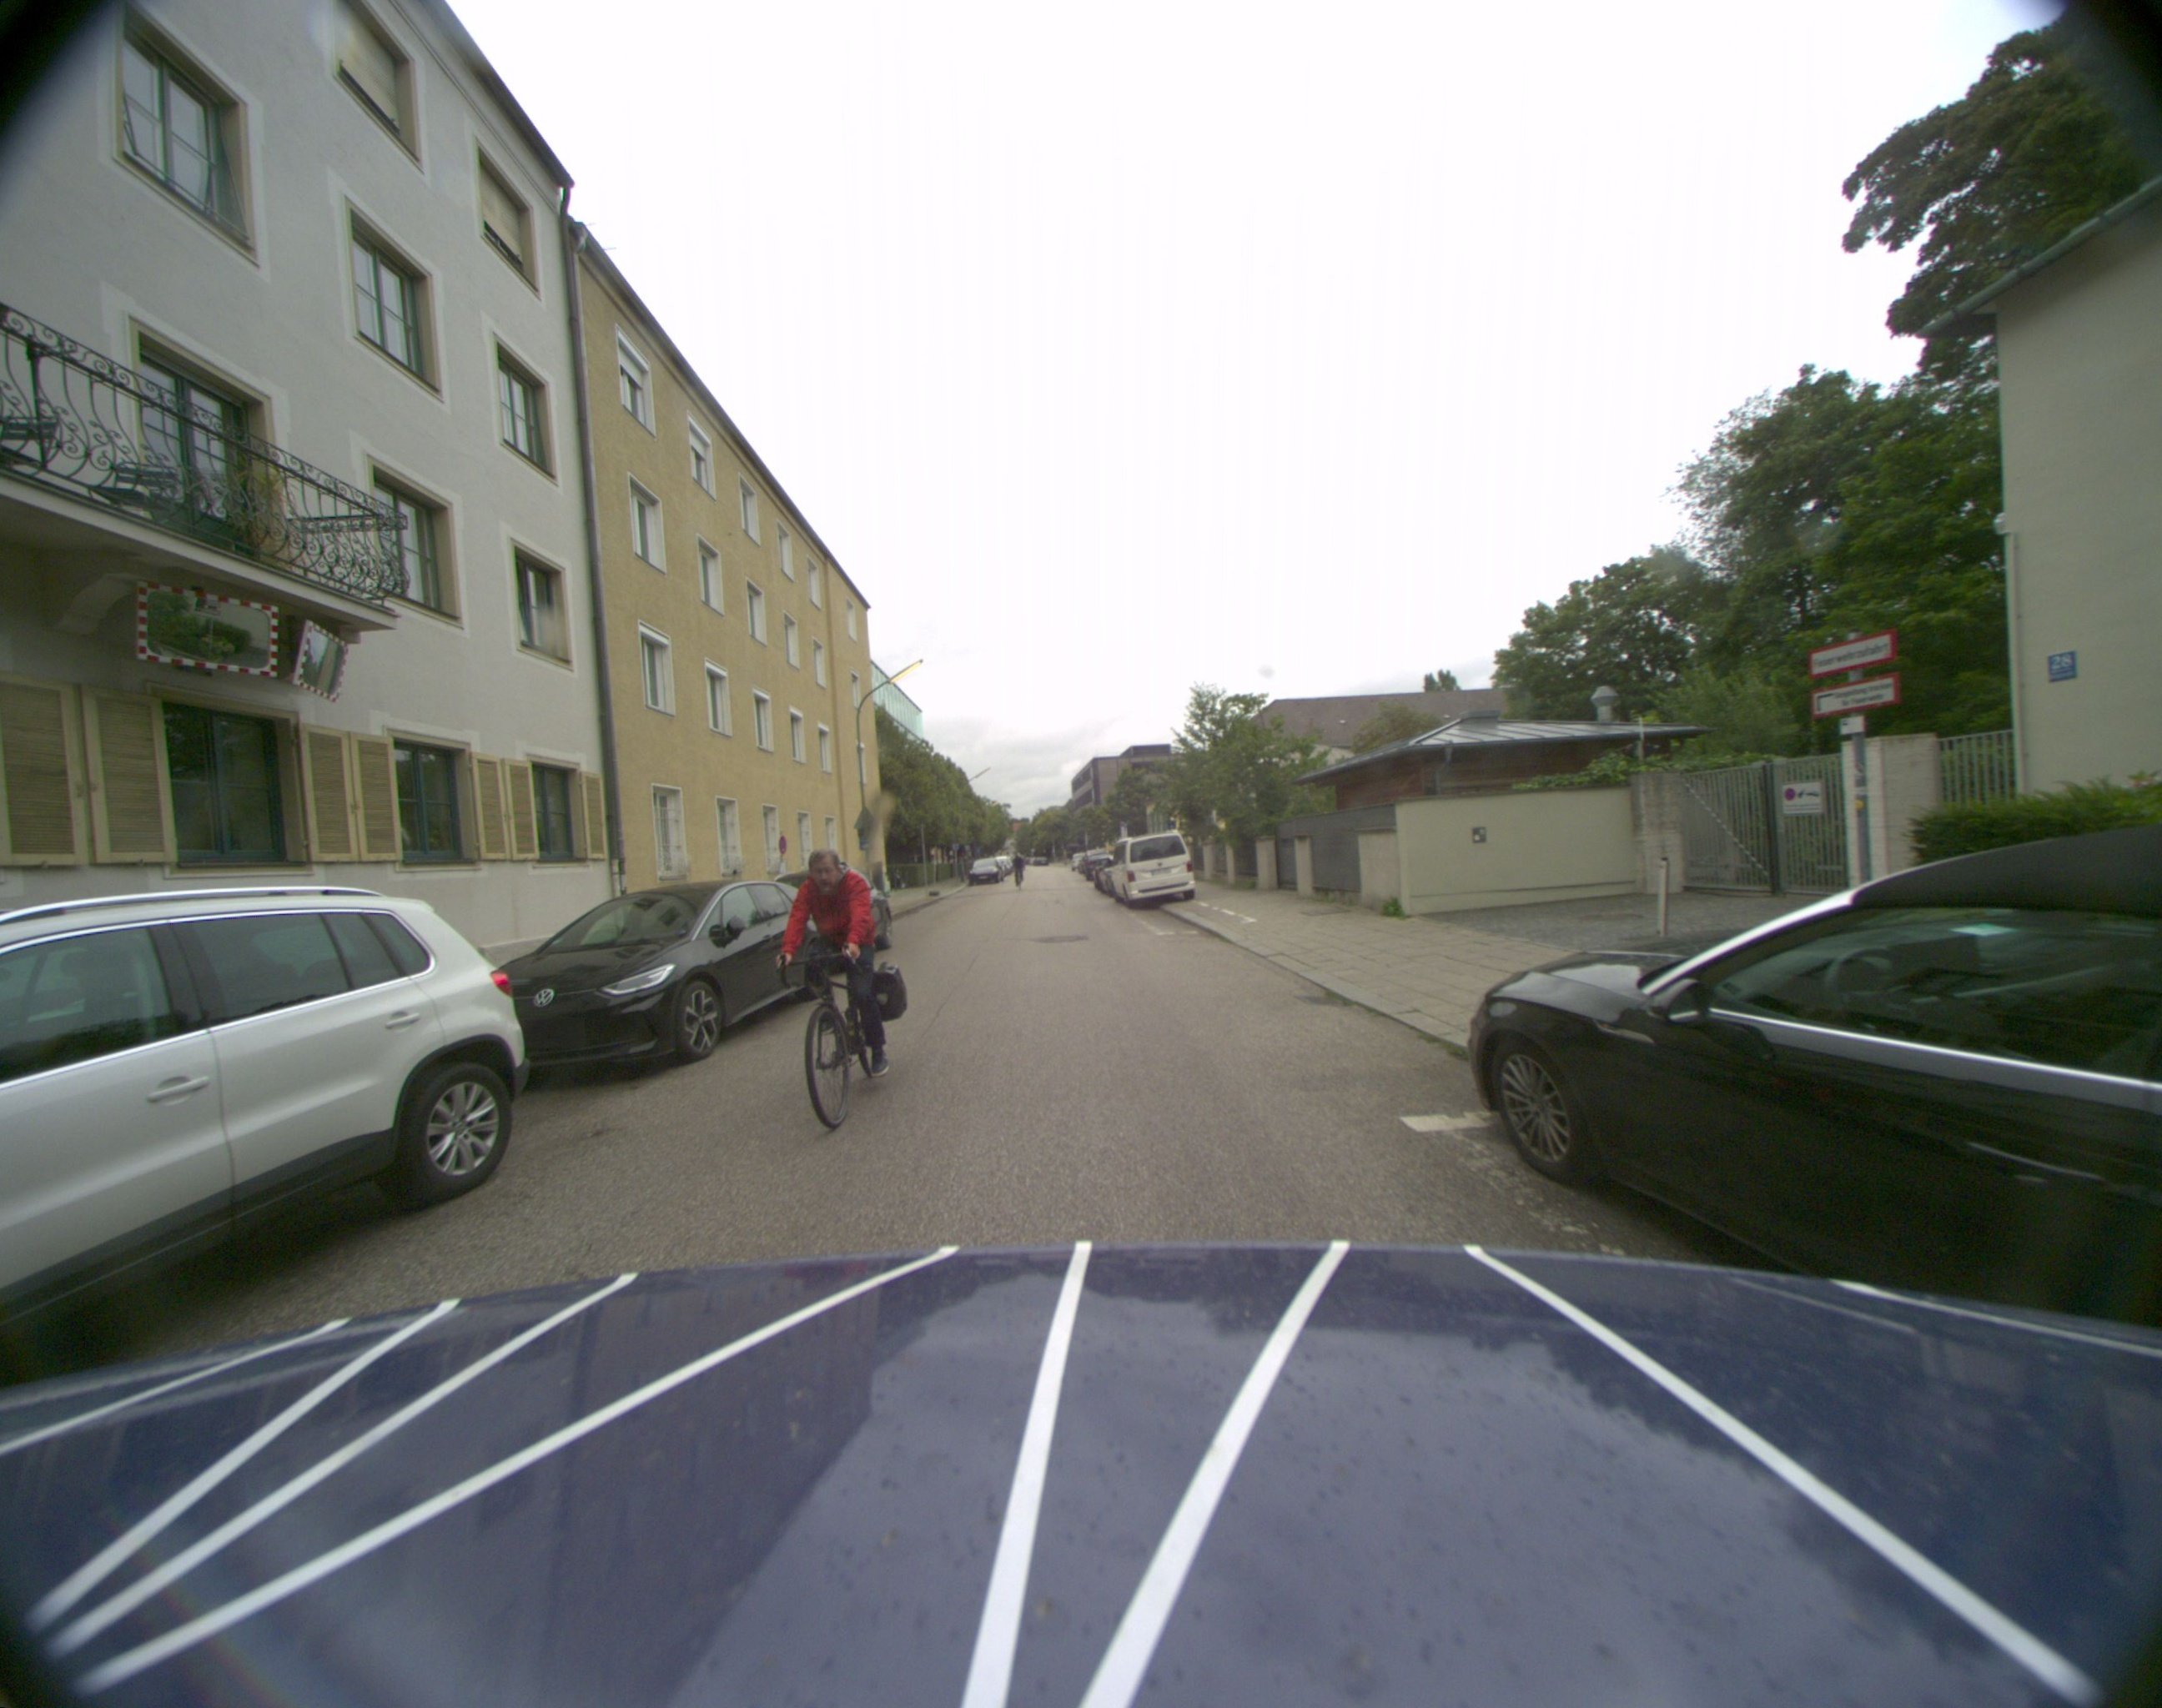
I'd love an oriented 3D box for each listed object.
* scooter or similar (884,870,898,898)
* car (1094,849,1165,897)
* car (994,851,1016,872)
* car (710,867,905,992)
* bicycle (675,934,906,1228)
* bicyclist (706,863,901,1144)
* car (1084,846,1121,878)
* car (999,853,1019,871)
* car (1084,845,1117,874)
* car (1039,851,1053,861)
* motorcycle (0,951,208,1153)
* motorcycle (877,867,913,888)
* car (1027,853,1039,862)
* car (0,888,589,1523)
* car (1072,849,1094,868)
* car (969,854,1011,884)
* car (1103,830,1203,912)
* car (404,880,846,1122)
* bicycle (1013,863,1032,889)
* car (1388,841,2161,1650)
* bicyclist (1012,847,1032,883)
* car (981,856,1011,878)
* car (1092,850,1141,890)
[{"bbox_3d":[-8.882,1.405,35.544,0.343,1.248,1.309,-2,1,-3],"label":"scooter or similar"},{"bbox_3d":[1.714,0.658,28.628,1.892,1.535,4.693,-4,0,-5],"label":"car"},{"bbox_3d":[-7.639,0.743,76.580,1.789,1.885,4.572,-6,1,-3],"label":"car"},{"bbox_3d":[-4.467,1.116,13.301,1.865,1.568,4.897,-3,0,-4],"label":"car"},{"bbox_3d":[-1.635,1.210,4.697,0.674,1.135,2.010,-6,1,-4],"label":"bicycle"},{"bbox_3d":[-1.659,0.837,4.724,0.756,1.474,0.981,-6,1,-4],"label":"bicyclist"},{"bbox_3d":[1.205,0.444,44.578,1.850,1.598,4.741,-6,1,0],"label":"car"},{"bbox_3d":[-7.827,0.831,82.614,1.873,1.682,4.782,-6,1,-4],"label":"car"},{"bbox_3d":[1.278,0.350,51.496,1.907,1.682,4.807,-6,1,-1],"label":"car"},{"bbox_3d":[-5.807,0.353,124.724,1.930,1.390,4.484,-4,0,-7],"label":"car"},{"bbox_3d":[-7.917,1.488,5.523,0.734,1.232,2.007,-6,1,-3],"label":"motorcycle"},{"bbox_3d":[-10.933,1.385,44.630,1.899,1.126,0.708,-2,1,-1],"label":"motorcycle"},{"bbox_3d":[-9.715,0.747,154.011,1.999,1.510,3.997,-6,1,-7],"label":"car"},{"bbox_3d":[-4.189,1.177,2.567,1.999,1.697,4.533,-6,1,-1],"label":"car"},{"bbox_3d":[0.142,0.366,69.189,1.729,1.483,4.460,-6,1,-3],"label":"car"},{"bbox_3d":[-5.908,0.946,49.873,1.999,1.621,5.098,-6,1,0],"label":"car"},{"bbox_3d":[1.982,0.447,22.658,1.972,1.979,5.149,-6,1,-4],"label":"car"},{"bbox_3d":[-4.077,1.176,7.874,1.843,1.522,4.415,-3,0,0],"label":"car"},{"bbox_3d":[-2.856,1.073,37.426,0.720,1.199,1.801,-6,0,-2],"label":"bicycle"},{"bbox_3d":[2.872,0.740,1.906,1.812,1.394,4.922,-6,1,-4],"label":"car"},{"bbox_3d":[-2.904,0.534,37.408,0.780,1.657,1.034,-6,0,-1],"label":"bicyclist"},{"bbox_3d":[-6.595,0.977,59.388,1.999,1.451,4.954,-6,1,-5],"label":"car"},{"bbox_3d":[1.515,0.660,33.713,1.864,1.536,4.187,-2,1,-1],"label":"car"}]
